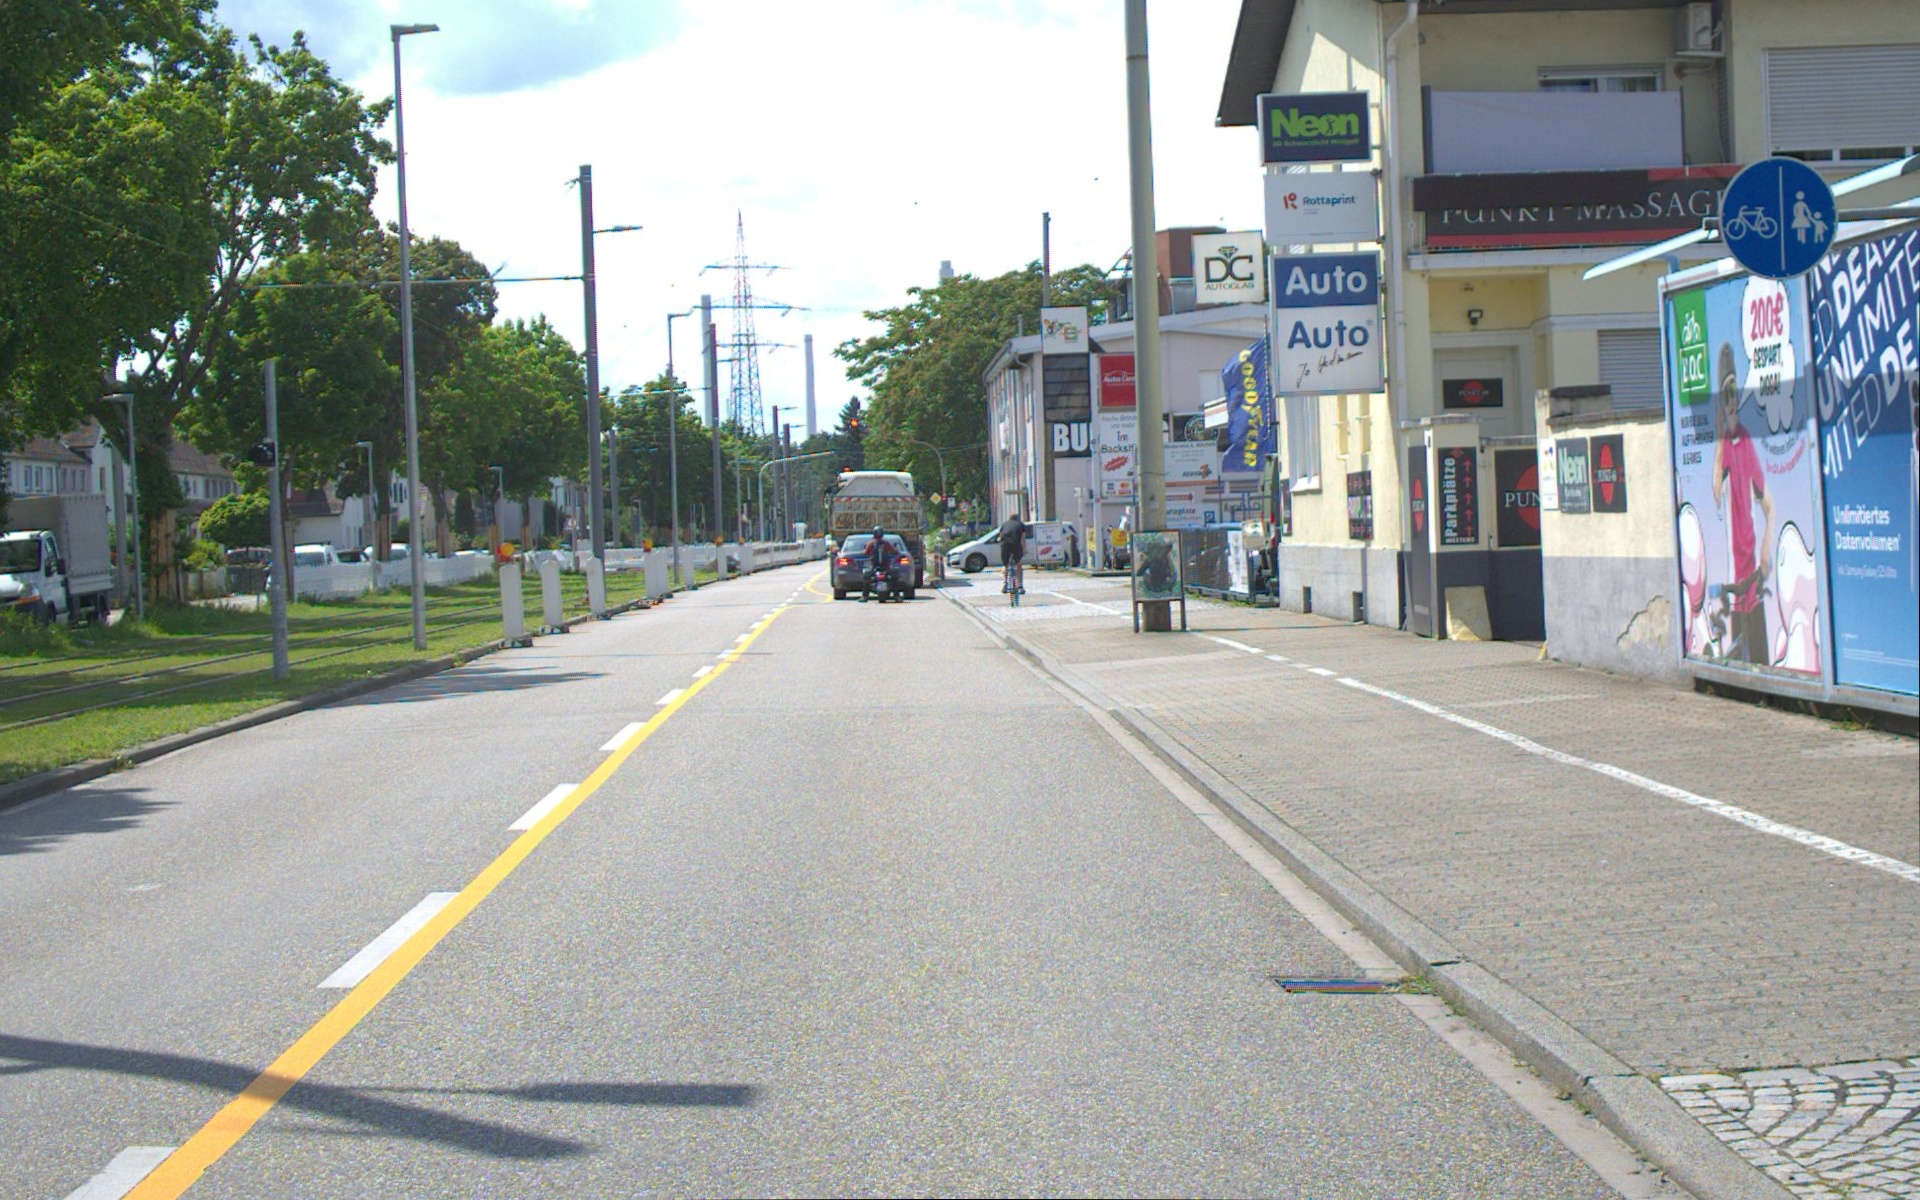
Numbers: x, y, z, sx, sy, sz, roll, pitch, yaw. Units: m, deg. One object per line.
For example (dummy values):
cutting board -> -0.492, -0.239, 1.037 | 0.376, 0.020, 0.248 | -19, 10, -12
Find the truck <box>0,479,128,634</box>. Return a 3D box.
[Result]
truck -> -17.769, -0.841, 65.963 | 1.993, 2.758, 6.277 | -5, 2, -1

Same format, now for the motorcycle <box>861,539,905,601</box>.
motorcycle -> -1.670, -0.659, 74.388 | 0.939, 1.316, 2.645 | 0, 1, -1

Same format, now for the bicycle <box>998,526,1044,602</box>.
bicycle -> 1.128, -0.685, 63.713 | 0.693, 1.357, 2.419 | -2, 1, -2

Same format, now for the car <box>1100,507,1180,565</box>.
car -> 5.514, -1.954, 105.743 | 1.959, 1.643, 4.001 | -3, 1, -3

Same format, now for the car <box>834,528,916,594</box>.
car -> -1.941, -0.914, 78.857 | 1.821, 1.419, 4.000 | -1, 1, -1

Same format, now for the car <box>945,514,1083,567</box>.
car -> 1.819, -2.004, 116.177 | 4.329, 1.546, 1.950 | -3, 1, -9

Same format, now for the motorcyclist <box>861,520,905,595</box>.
motorcyclist -> -1.662, -0.924, 74.203 | 0.939, 1.609, 1.205 | 0, 1, -1

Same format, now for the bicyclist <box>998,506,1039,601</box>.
bicyclist -> 1.074, -0.869, 63.724 | 0.671, 1.738, 0.814 | -2, 1, -2

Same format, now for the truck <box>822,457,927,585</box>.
truck -> -2.294, -2.247, 94.817 | 2.610, 3.244, 9.183 | -3, 2, -1

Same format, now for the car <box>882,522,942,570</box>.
car -> -1.502, -1.710, 108.055 | 1.821, 1.459, 4.000 | -1, 1, -1

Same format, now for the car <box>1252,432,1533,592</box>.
car -> 7.463, -1.513, 59.664 | 4.537, 2.564, 2.151 | -2, 1, 1

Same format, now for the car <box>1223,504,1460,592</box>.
car -> 6.930, -0.955, 62.588 | 4.184, 1.426, 1.820 | -2, 1, 6
